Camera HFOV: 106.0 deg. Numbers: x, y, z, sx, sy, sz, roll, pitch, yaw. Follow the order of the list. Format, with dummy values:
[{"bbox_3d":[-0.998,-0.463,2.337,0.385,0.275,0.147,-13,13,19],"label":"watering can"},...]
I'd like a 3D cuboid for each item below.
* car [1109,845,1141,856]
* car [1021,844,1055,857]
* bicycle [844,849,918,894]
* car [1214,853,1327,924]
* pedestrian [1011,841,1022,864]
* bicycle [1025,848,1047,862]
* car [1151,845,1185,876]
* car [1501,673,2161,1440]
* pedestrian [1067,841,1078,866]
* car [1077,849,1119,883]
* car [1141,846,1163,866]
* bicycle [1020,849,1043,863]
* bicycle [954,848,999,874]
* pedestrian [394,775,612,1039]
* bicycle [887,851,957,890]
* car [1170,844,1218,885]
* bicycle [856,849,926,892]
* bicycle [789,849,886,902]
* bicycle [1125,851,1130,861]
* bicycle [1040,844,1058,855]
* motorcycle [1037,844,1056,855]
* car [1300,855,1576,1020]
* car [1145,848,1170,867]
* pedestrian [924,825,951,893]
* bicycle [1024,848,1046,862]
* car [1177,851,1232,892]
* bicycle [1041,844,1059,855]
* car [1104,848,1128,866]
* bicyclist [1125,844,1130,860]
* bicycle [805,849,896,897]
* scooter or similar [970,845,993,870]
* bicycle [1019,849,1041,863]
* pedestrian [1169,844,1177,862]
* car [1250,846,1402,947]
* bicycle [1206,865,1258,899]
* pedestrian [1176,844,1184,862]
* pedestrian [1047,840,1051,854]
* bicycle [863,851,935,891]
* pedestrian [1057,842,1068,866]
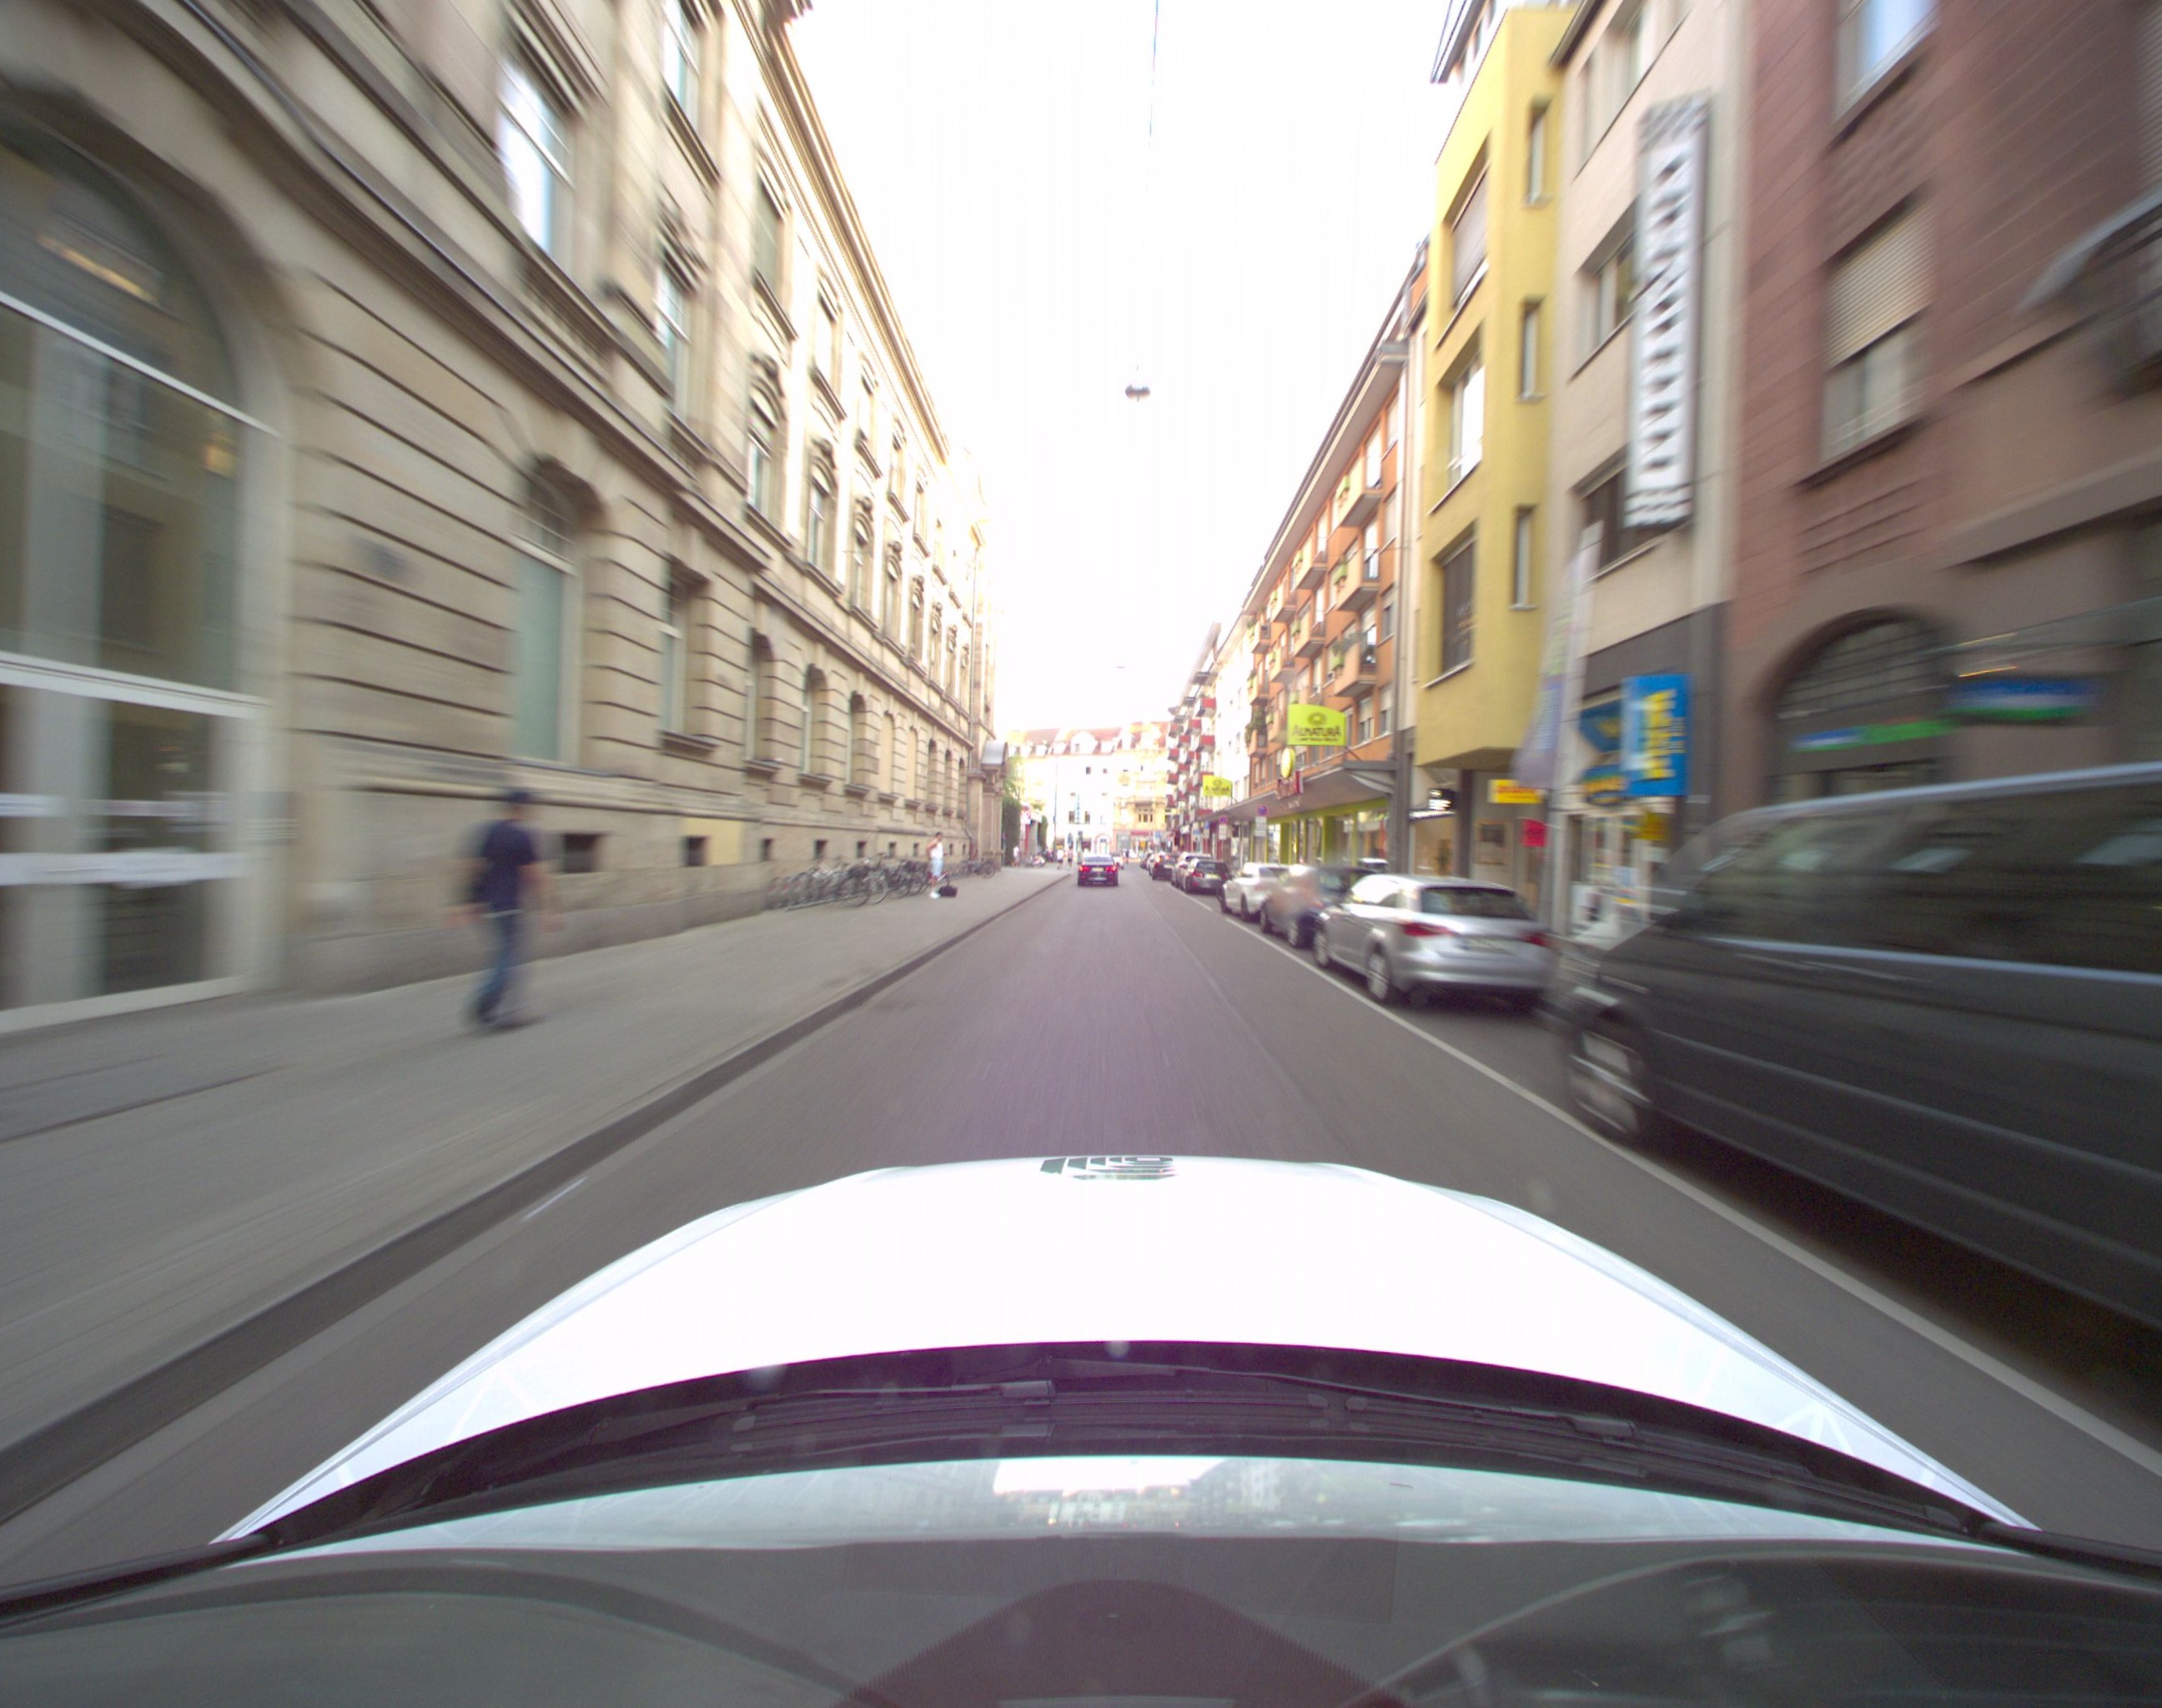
[{"bbox_3d":[6.530,-0.470,121.230,4.312,1.562,1.879,1,0,24],"label":"car"},{"bbox_3d":[-5.051,-0.384,95.695,3.982,1.501,1.887,1,1,-6],"label":"car"},{"bbox_3d":[-5.327,0.467,21.727,1.791,1.107,0.499,3,0,-4],"label":"bicycle"},{"bbox_3d":[4.642,0.775,20.613,1.686,1.411,4.638,4,1,-1],"label":"car"},{"bbox_3d":[-5.001,-0.099,63.339,0.714,1.754,0.848,1,0,1],"label":"pedestrian"},{"bbox_3d":[-3.844,0.107,69.227,1.786,1.107,0.501,2,0,5],"label":"bicycle"},{"bbox_3d":[5.107,0.339,47.692,1.785,1.609,4.495,4,1,7],"label":"car"},{"bbox_3d":[3.868,0.569,3.241,1.840,2.058,5.056,2,0,2],"label":"car"},{"bbox_3d":[-0.668,-0.042,64.773,0.741,1.893,1.051,3,1,3],"label":"pedestrian"},{"bbox_3d":[0.858,0.496,37.518,1.758,1.374,4.794,2,1,3],"label":"car"},{"bbox_3d":[6.667,0.172,77.165,1.758,1.641,4.794,4,1,2],"label":"car"},{"bbox_3d":[-4.038,0.151,66.075,1.787,1.107,0.500,2,0,2],"label":"bicycle"},{"bbox_3d":[-4.824,0.308,37.648,1.939,1.061,0.617,4,0,-13],"label":"bicycle"},{"bbox_3d":[-4.198,0.355,6.005,0.806,1.750,0.970,3,0,2],"label":"pedestrian"},{"bbox_3d":[-4.825,0.501,24.773,1.931,1.061,0.619,3,-1,0],"label":"bicycle"},{"bbox_3d":[5.247,0.429,38.432,1.745,1.668,4.760,4,1,3],"label":"car"},{"bbox_3d":[-5.333,0.469,22.928,1.791,1.107,0.499,3,0,-4],"label":"bicycle"},{"bbox_3d":[-5.431,0.470,18.260,1.930,1.061,0.620,3,0,1],"label":"bicycle"},{"bbox_3d":[5.257,0.203,92.399,0.534,1.107,1.802,2,0,3],"label":"bicycle"},{"bbox_3d":[-3.317,-0.481,85.403,1.786,1.107,0.501,3,0,4],"label":"bicycle"},{"bbox_3d":[-3.515,-0.429,83.379,1.783,1.064,0.769,3,0,27],"label":"motorcycle"},{"bbox_3d":[4.142,0.829,10.331,1.679,1.453,4.502,4,1,3],"label":"car"},{"bbox_3d":[6.570,0.299,70.624,1.693,1.452,4.459,4,1,0],"label":"car"},{"bbox_3d":[-4.047,0.138,22.981,0.586,1.851,0.753,3,0,-4],"label":"pedestrian"},{"bbox_3d":[-3.885,0.105,68.595,1.786,1.107,0.501,2,0,5],"label":"bicycle"},{"bbox_3d":[5.010,0.649,33.467,1.684,1.414,4.760,4,1,3],"label":"car"},{"bbox_3d":[-3.267,-0.479,86.151,1.790,1.107,0.499,3,0,-3],"label":"bicycle"},{"bbox_3d":[3.092,0.224,71.737,1.868,1.473,4.007,1,1,6],"label":"car"},{"bbox_3d":[5.266,-0.210,92.375,0.521,1.756,0.620,2,0,3],"label":"bicyclist"},{"bbox_3d":[-5.501,0.448,19.511,1.933,1.061,0.619,3,0,-4],"label":"bicycle"},{"bbox_3d":[-5.064,0.176,41.447,1.133,1.232,0.495,2,0,-10],"label":"scooter or similar"},{"bbox_3d":[-4.153,0.148,66.424,1.788,1.107,0.500,2,0,0],"label":"bicycle"},{"bbox_3d":[8.818,-0.092,78.154,0.645,1.661,0.656,-2,0,4],"label":"pedestrian"},{"bbox_3d":[4.452,0.679,15.441,1.612,1.516,4.175,4,1,1],"label":"car"},{"bbox_3d":[4.952,0.922,26.614,1.746,1.055,0.652,2,1,-40],"label":"bicycle"},{"bbox_3d":[9.511,-0.081,78.086,0.645,1.661,0.795,-2,0,4],"label":"pedestrian"},{"bbox_3d":[-3.903,-0.864,99.117,0.498,1.643,0.521,1,1,4],"label":"pedestrian"},{"bbox_3d":[-5.295,0.491,23.742,1.933,1.061,0.619,3,0,-4],"label":"bicycle"},{"bbox_3d":[-1.481,-0.004,64.432,0.738,1.812,1.009,3,1,2],"label":"pedestrian"}]
